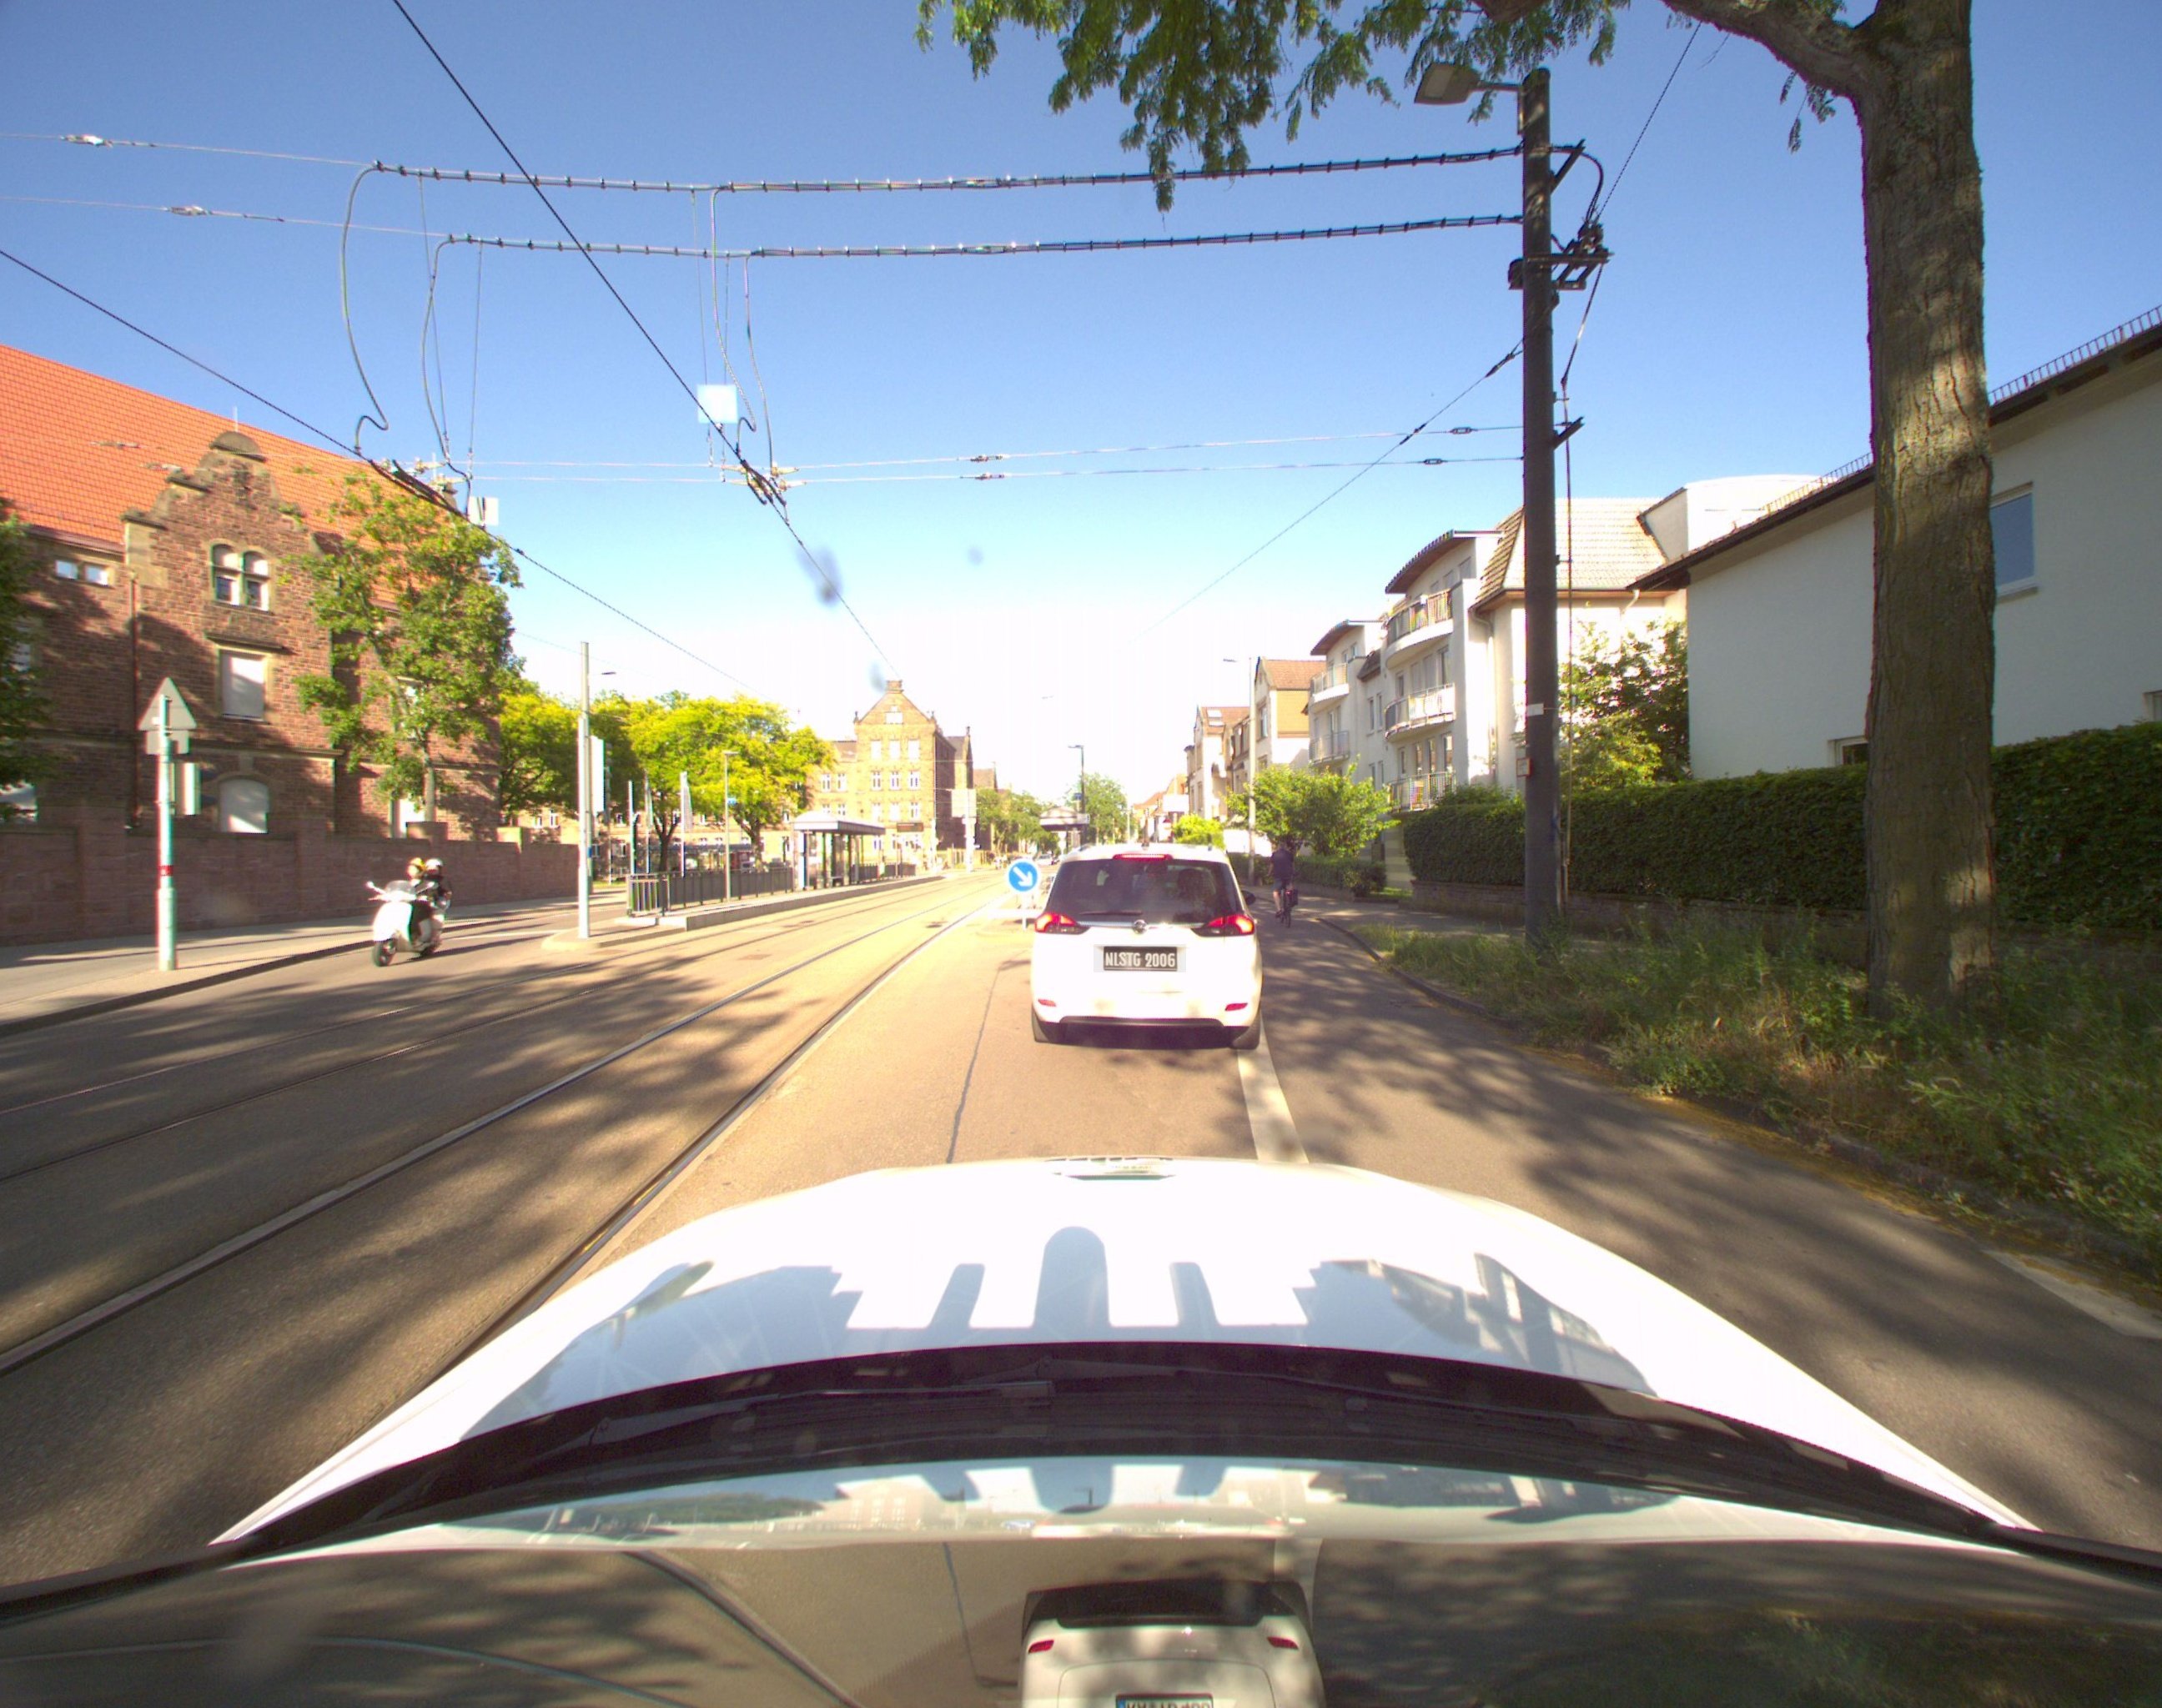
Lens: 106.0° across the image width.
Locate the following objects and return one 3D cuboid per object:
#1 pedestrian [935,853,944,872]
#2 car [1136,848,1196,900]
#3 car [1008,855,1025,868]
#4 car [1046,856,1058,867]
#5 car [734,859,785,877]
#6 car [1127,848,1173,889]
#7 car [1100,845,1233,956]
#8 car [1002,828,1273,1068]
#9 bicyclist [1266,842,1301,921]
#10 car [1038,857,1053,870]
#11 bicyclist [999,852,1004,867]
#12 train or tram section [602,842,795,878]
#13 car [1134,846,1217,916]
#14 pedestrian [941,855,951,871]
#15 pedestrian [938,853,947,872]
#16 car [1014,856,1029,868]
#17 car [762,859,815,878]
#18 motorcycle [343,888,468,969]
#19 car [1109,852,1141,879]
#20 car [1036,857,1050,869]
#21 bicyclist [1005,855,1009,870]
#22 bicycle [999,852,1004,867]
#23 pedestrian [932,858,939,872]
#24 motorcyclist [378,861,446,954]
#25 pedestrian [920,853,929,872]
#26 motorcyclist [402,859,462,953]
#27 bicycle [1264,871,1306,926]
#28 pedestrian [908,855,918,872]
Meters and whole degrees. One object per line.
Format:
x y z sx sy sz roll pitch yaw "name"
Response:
-15.551 0.931 89.533 0.801 2.014 0.713 0 -1 -35 "pedestrian"
2.976 0.650 28.343 1.897 1.661 4.007 -1 0 6 "car"
-8.495 1.025 107.450 1.740 1.716 4.001 0 -1 2 "car"
-4.599 1.175 129.394 1.740 1.716 4.001 0 -1 2 "car"
-29.651 1.313 75.213 3.976 1.630 1.817 0 -1 -2 "car"
2.997 0.614 36.186 1.899 1.661 4.003 -1 0 3 "car"
1.559 0.686 13.865 1.896 1.597 4.010 -1 0 9 "car"
0.698 0.664 7.760 1.896 1.661 4.010 -1 0 9 "car"
4.408 0.586 17.760 0.612 1.686 0.780 -1 0 7 "bicyclist"
-4.704 1.251 107.669 1.740 1.716 4.001 0 -1 2 "car"
-10.682 0.704 109.449 0.496 2.013 0.572 -1 0 1 "bicyclist"
-37.841 0.574 81.145 17.346 3.154 3.344 -1 -1 -3 "train or tram section"
2.521 0.638 21.071 1.896 1.624 4.010 -1 0 9 "car"
-15.653 1.051 94.457 0.801 1.901 0.747 -1 -1 20 "pedestrian"
-14.549 0.864 85.513 0.796 2.014 0.717 0 -1 -15 "pedestrian"
-8.327 1.110 114.117 1.740 1.716 4.001 0 -1 2 "car"
-25.443 1.237 70.969 3.976 1.630 1.817 0 -1 -2 "car"
-10.627 1.134 12.907 0.609 1.093 1.851 -1 0 -7 "motorcycle"
2.843 0.748 53.179 1.901 1.661 4.000 -1 0 0 "car"
-5.367 1.282 115.548 1.740 1.716 4.001 0 -1 2 "car"
-10.232 1.217 112.375 0.486 2.014 0.502 0 -1 1 "bicyclist"
-10.677 0.707 109.498 0.485 2.013 1.406 -1 0 2 "bicycle"
-17.142 1.252 95.903 0.651 1.612 0.712 0 -1 4 "pedestrian"
-10.637 0.838 12.959 0.683 1.440 0.445 -1 0 -8 "motorcyclist"
-17.059 0.937 88.947 0.800 2.014 0.713 0 -1 -32 "pedestrian"
-10.701 0.841 13.441 0.606 1.516 0.464 -1 0 -8 "motorcyclist"
4.421 0.941 17.769 0.620 1.097 1.977 -1 0 7 "bicycle"
-18.447 1.059 89.653 0.802 1.901 0.747 -1 -1 16 "pedestrian"
